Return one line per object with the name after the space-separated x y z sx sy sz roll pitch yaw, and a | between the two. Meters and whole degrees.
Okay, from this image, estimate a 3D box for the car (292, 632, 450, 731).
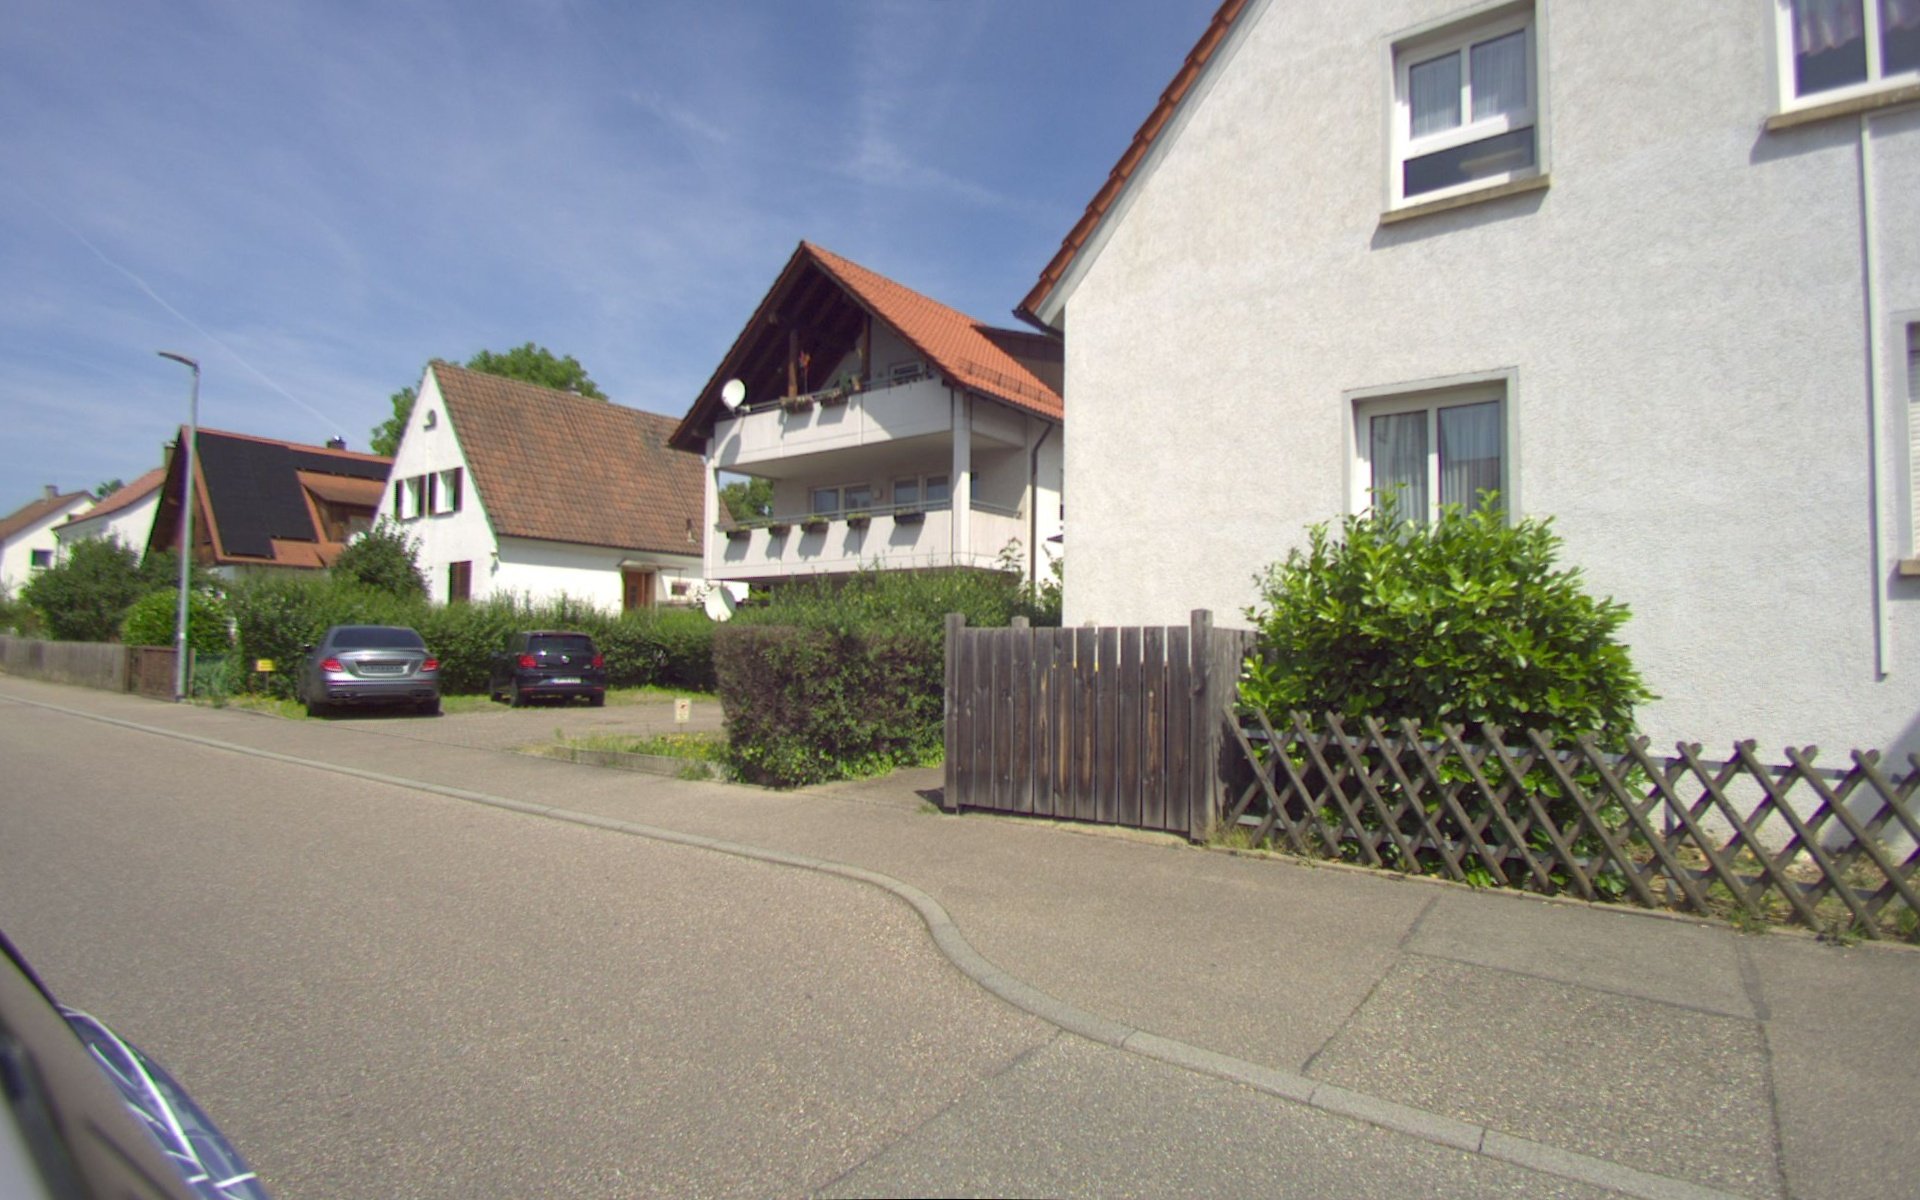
-10.161 1.287 17.282 1.803 1.443 4.573 3 -3 -37 | car

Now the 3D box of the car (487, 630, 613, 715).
-8.182 1.366 20.023 1.666 1.513 3.662 2 -3 -32 | car
